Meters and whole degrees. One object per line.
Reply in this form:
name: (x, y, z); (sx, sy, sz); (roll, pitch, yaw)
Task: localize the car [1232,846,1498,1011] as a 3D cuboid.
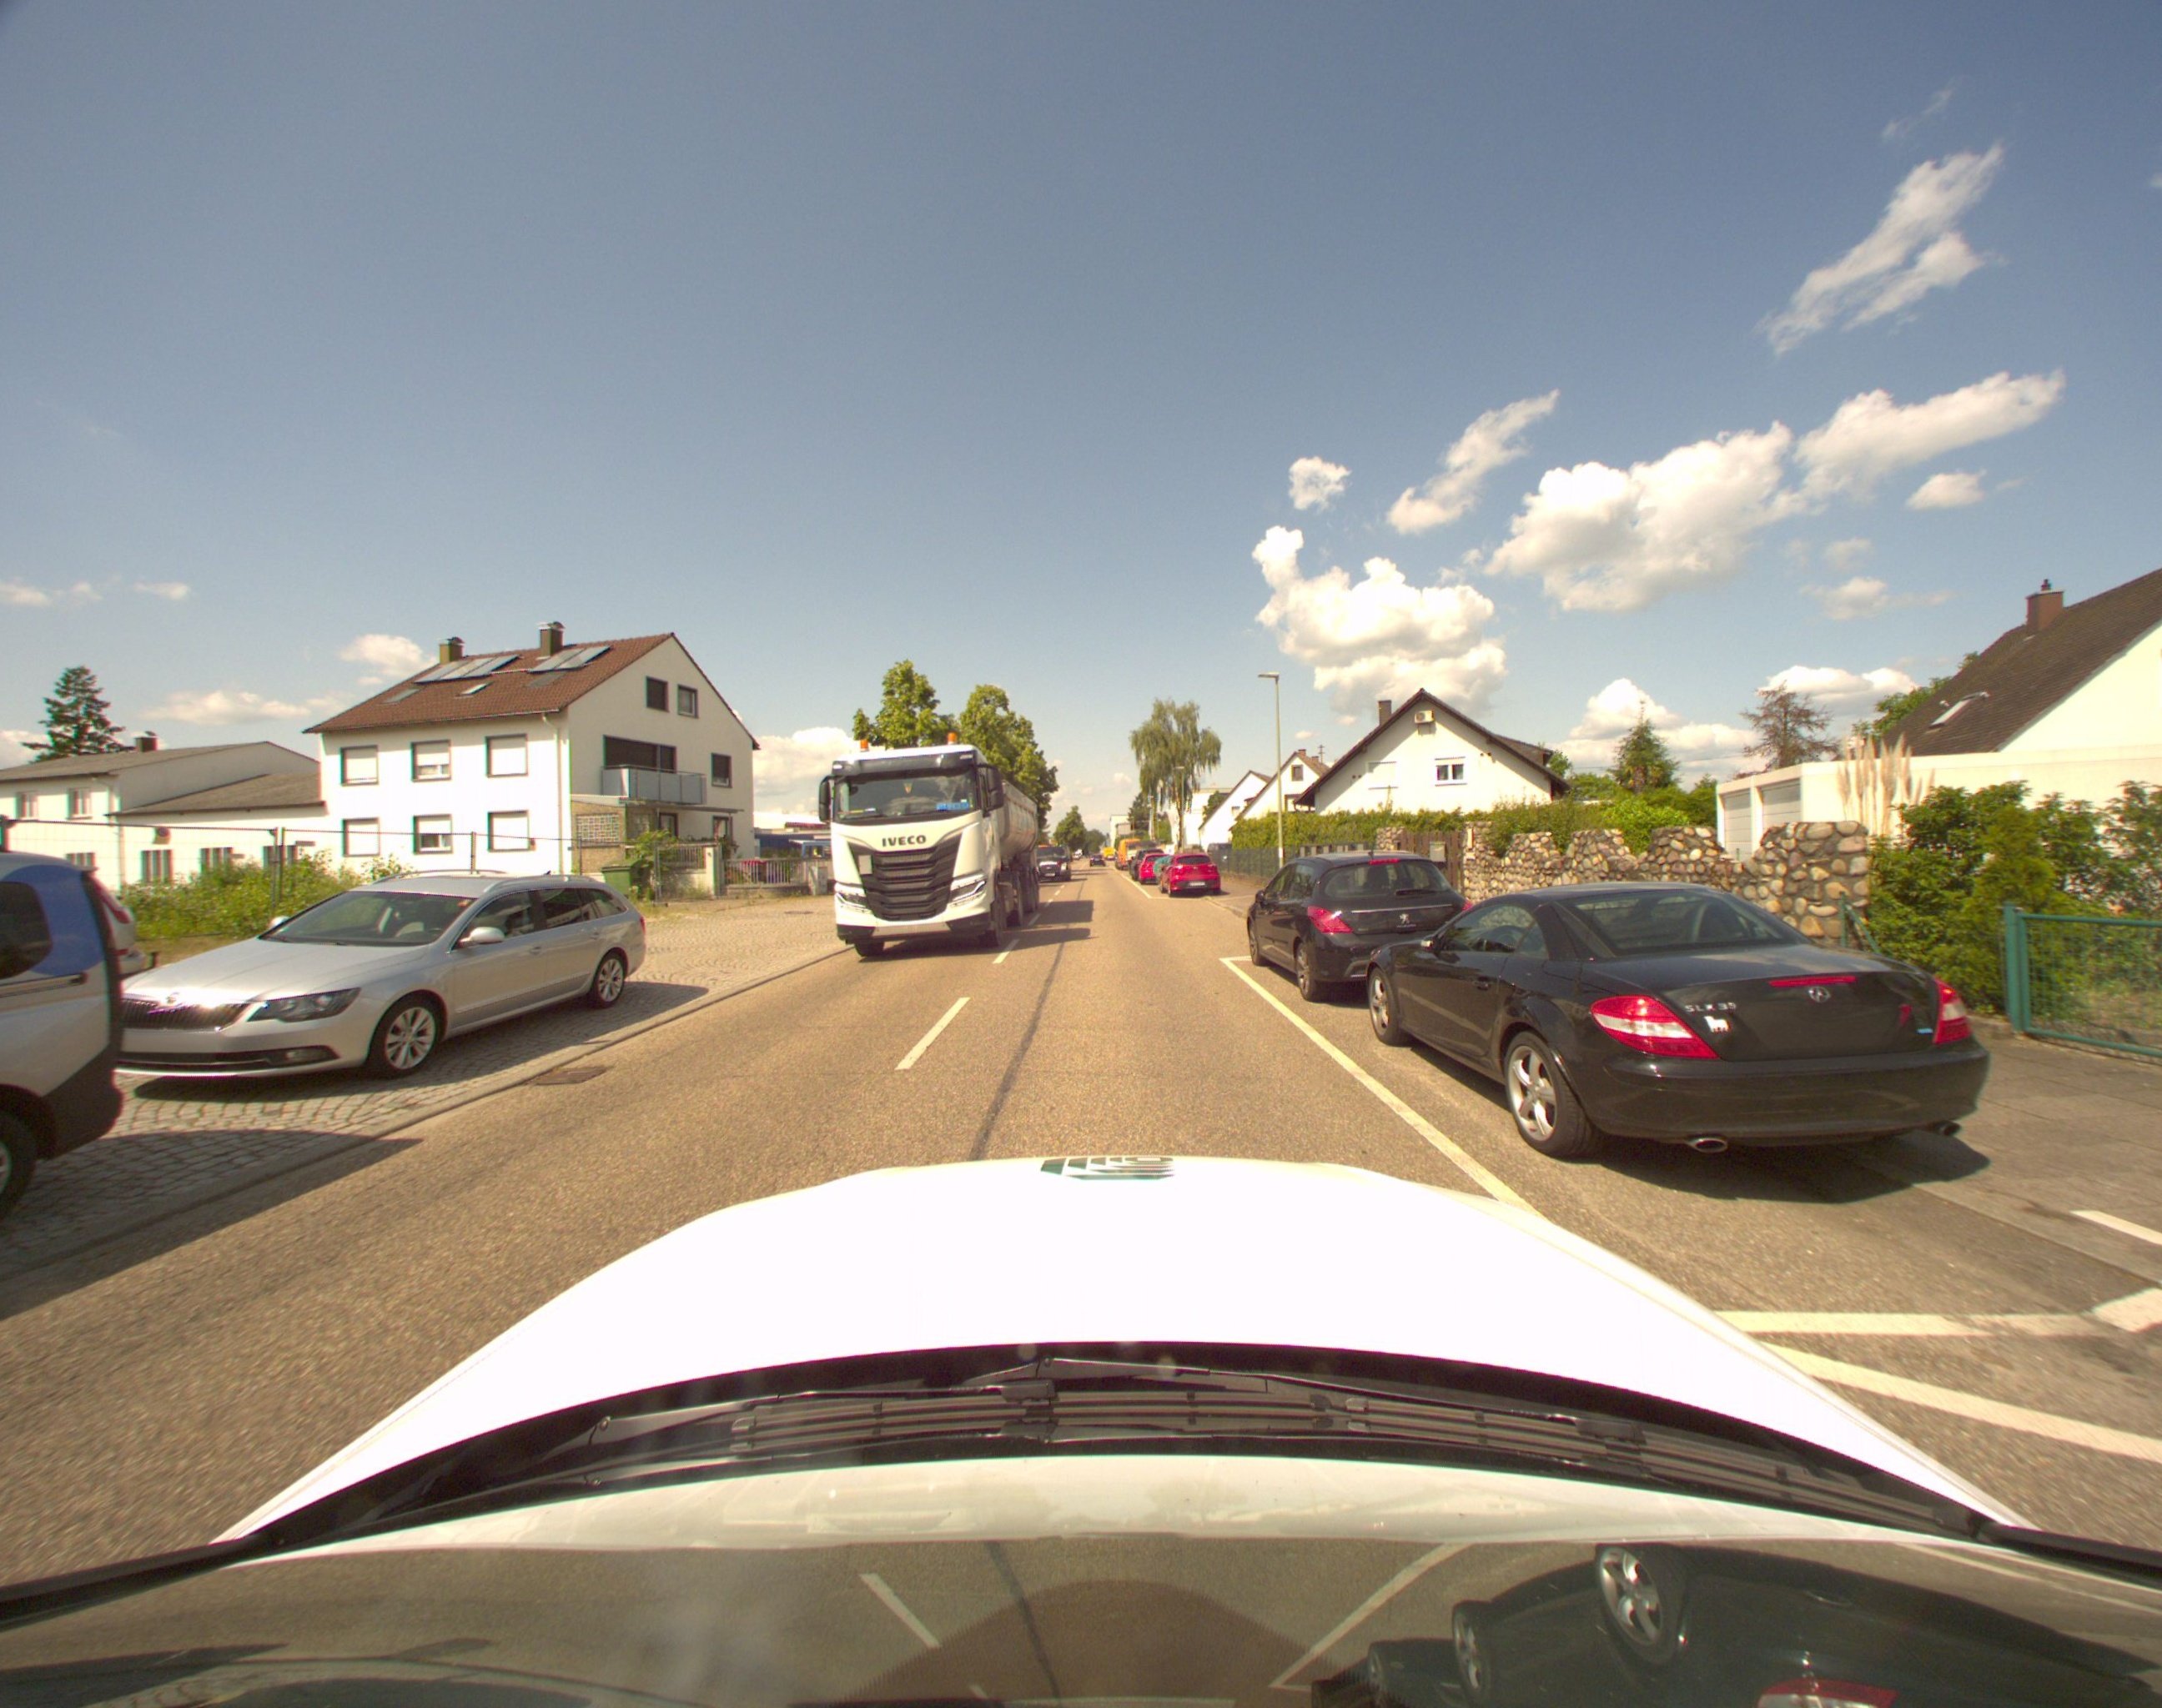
car: (3.075, 0.704, 9.771); (1.738, 1.551, 4.120); (0, 0, 0)

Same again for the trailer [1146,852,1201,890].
trailer: (3.614, 0.636, 32.467); (1.603, 1.378, 4.430); (-1, 0, -1)

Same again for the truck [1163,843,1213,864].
truck: (14.044, -0.021, 106.817); (6.070, 2.577, 2.545); (-2, 0, -25)

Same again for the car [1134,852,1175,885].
car: (3.415, 0.658, 38.385); (1.678, 1.435, 4.148); (-1, 0, 2)

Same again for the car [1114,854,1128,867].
car: (4.652, 0.741, 94.655); (1.604, 1.580, 4.003); (0, 0, 3)

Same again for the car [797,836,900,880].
car: (-12.664, 0.264, 44.422); (4.965, 2.231, 2.007); (-1, -1, 13)

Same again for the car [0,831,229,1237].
car: (-5.732, 0.789, 2.315); (1.804, 1.806, 4.491); (2, 0, 0)

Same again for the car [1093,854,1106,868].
car: (2.165, 0.800, 95.432); (1.421, 1.519, 3.020); (-2, 0, 4)

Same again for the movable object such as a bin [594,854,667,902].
movable object such as a bin: (-15.390, 0.801, 27.882); (1.299, 1.431, 1.611); (-1, 6, 17)

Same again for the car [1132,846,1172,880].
car: (3.682, 0.457, 42.932); (1.823, 1.662, 4.555); (-1, 0, 1)

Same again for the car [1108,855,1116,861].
car: (6.633, 0.839, 175.370); (1.646, 1.387, 4.424); (0, 0, 1)

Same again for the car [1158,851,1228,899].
car: (3.725, 0.657, 27.865); (1.686, 1.463, 4.754); (-1, 0, -1)

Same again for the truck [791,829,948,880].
truck: (-13.446, 0.023, 52.086); (9.214, 2.856, 2.724); (-2, 0, 5)

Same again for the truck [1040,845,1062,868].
truck: (-3.812, 0.299, 103.655); (2.211, 2.857, 7.074); (0, 0, 3)

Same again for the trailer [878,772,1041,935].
trailer: (-2.562, -0.013, 20.224); (2.826, 3.069, 8.884); (-2, 0, -1)

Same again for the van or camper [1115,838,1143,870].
van or camper: (4.131, -0.005, 70.868); (1.988, 2.664, 5.767); (-1, 0, -1)

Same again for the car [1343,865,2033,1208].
car: (3.152, 0.791, 5.368); (1.703, 1.318, 3.965); (-2, 0, 2)

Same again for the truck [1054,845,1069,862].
truck: (-3.298, -0.024, 136.394); (2.261, 2.855, 7.173); (0, -1, 0)

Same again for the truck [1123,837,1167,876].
truck: (4.144, 0.155, 53.735); (2.513, 2.299, 5.897); (-2, 0, 1)

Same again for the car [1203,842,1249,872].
car: (9.647, 0.200, 54.524); (1.853, 1.865, 5.014); (-2, 0, -4)

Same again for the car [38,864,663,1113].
car: (-6.039, 0.926, 7.749); (1.744, 1.461, 4.706); (2, 1, -2)

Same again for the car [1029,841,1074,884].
car: (-1.520, 0.413, 43.531); (2.044, 2.034, 5.142); (-3, 0, 1)

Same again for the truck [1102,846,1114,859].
truck: (6.222, -0.327, 187.091); (2.467, 2.940, 7.187); (0, 0, 0)

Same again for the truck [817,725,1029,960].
truck: (-2.593, -0.186, 15.373); (2.764, 3.499, 5.880); (-2, 0, 0)
